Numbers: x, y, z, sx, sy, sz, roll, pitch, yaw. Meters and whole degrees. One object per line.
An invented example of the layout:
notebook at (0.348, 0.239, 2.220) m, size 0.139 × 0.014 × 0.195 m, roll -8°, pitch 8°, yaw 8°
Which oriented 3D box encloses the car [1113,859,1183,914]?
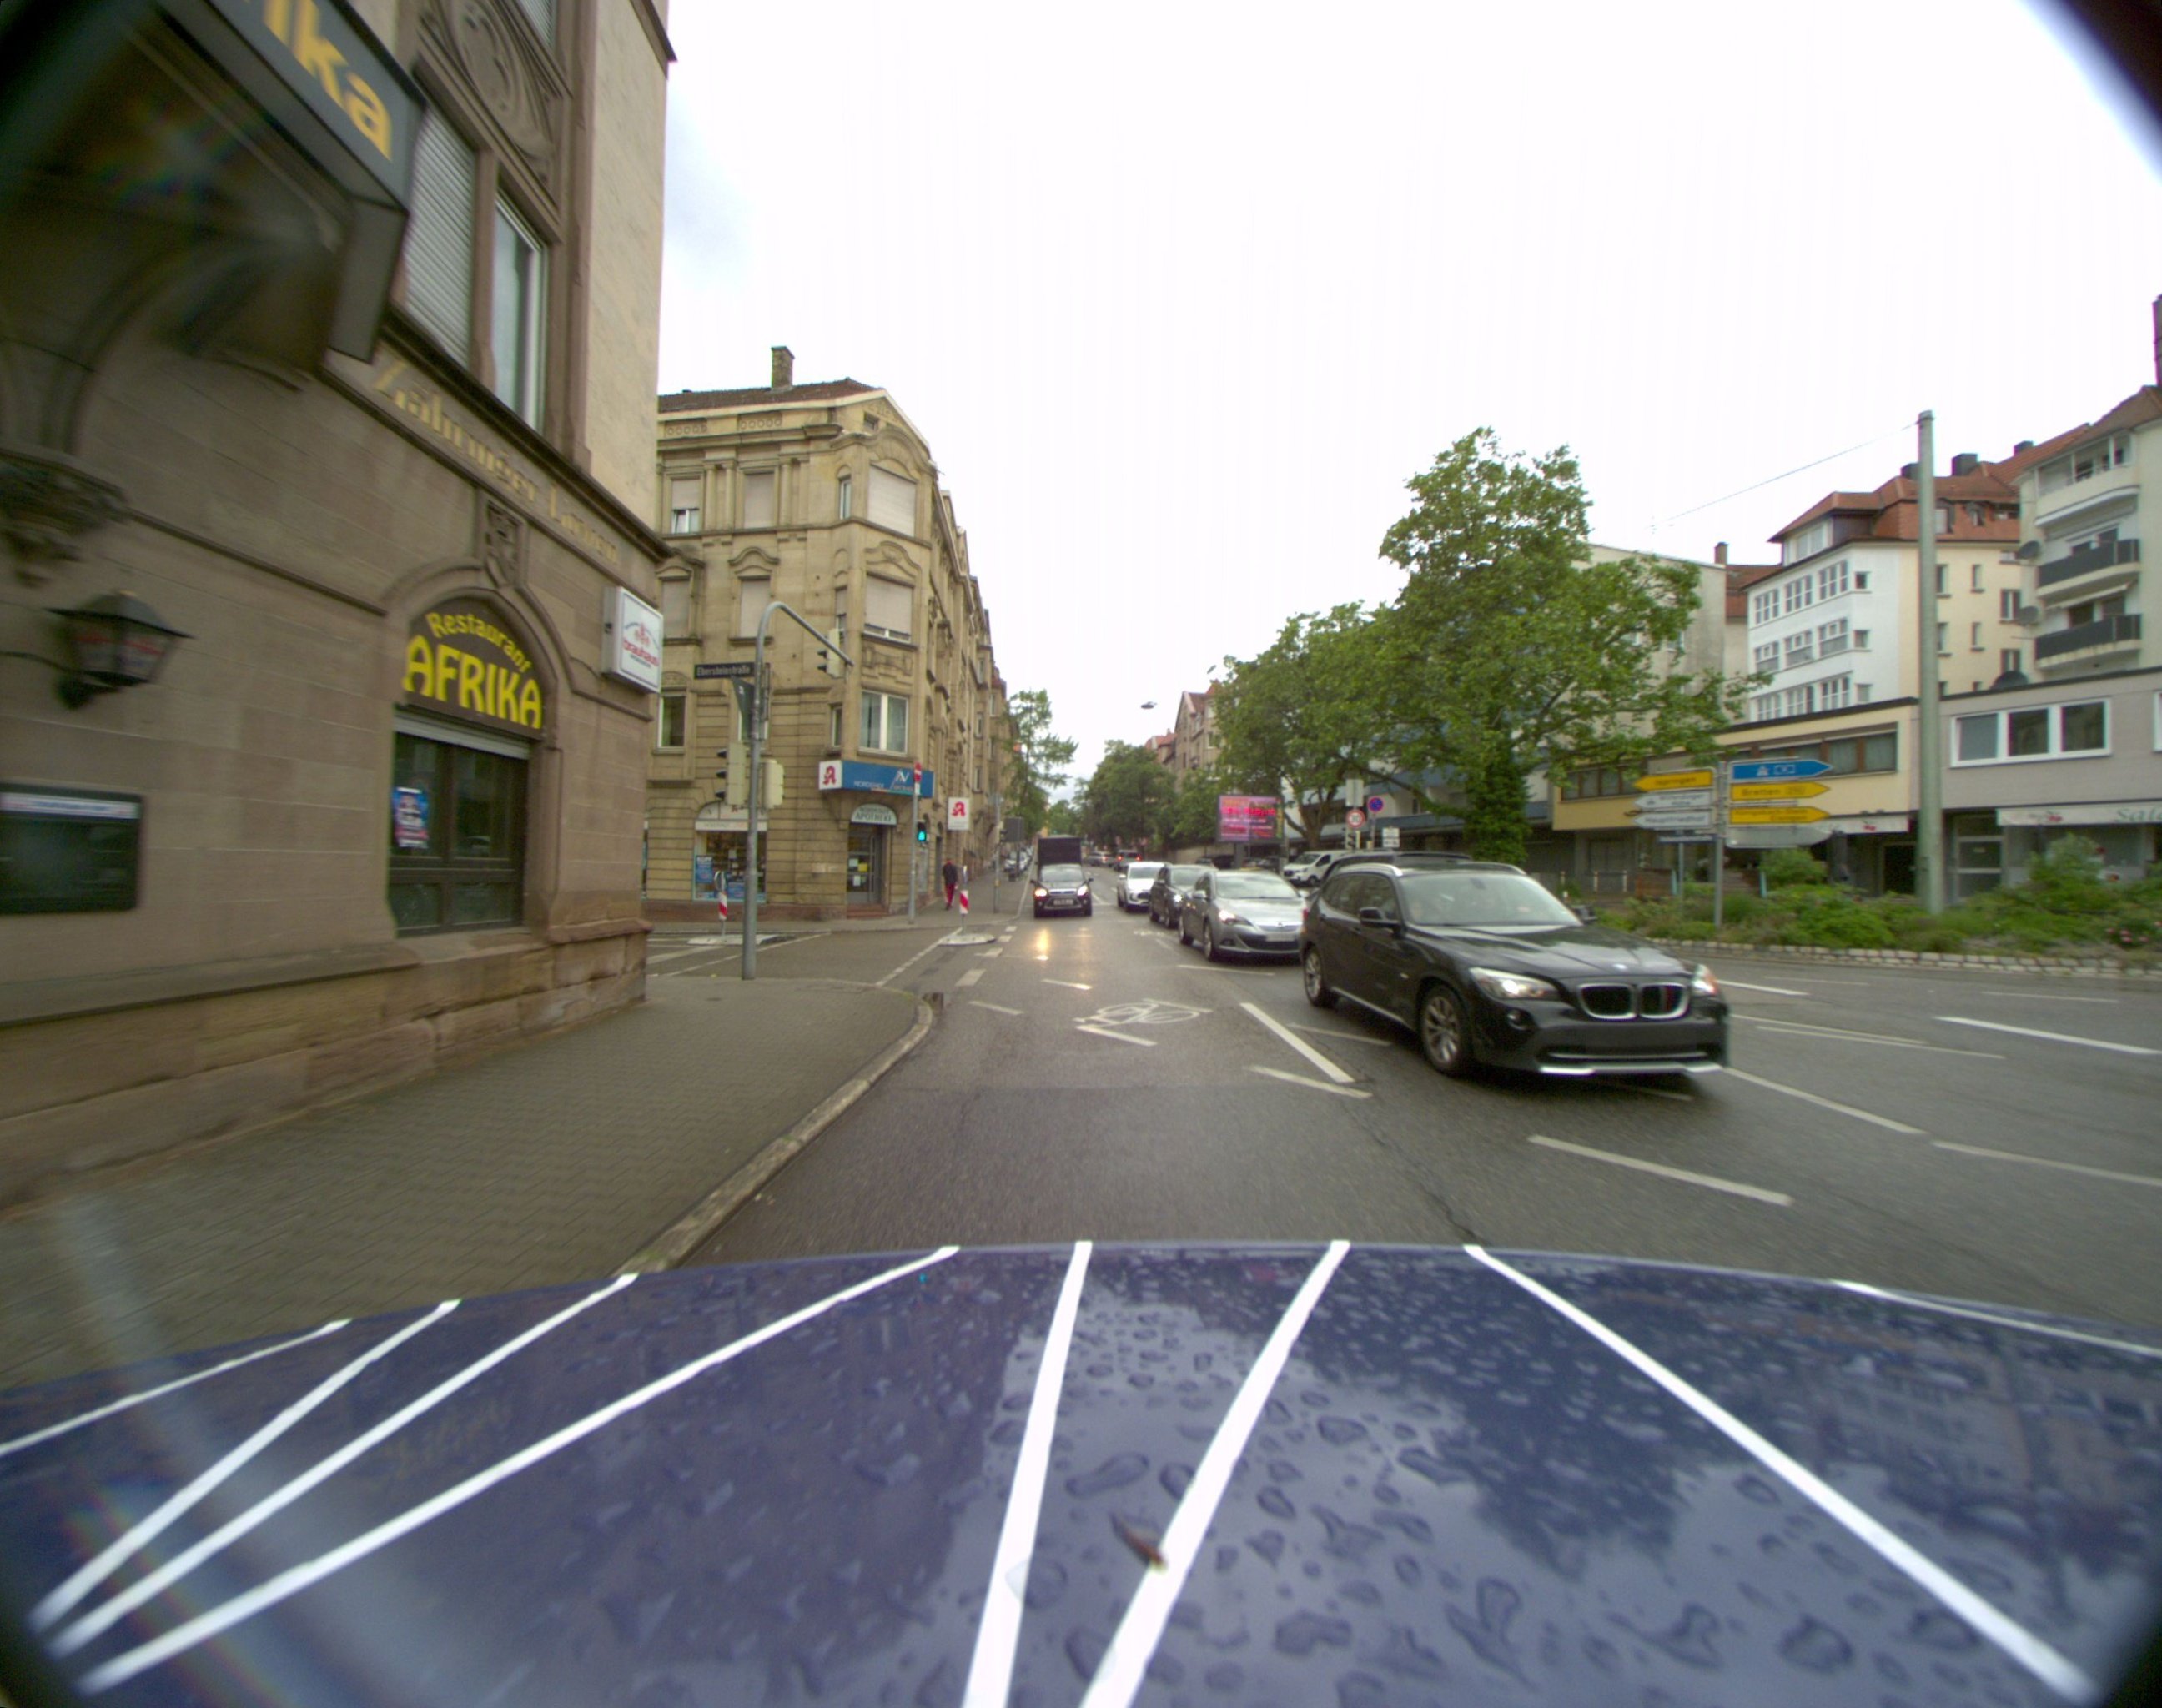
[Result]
car at (2.263, 1.055, 26.660) m, size 1.757 × 1.635 × 4.376 m, roll -1°, pitch 1°, yaw -4°

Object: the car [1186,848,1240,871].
car at (10.293, 0.382, 59.257) m, size 3.842 × 1.523 × 1.766 m, roll -3°, pitch 3°, yaw -31°

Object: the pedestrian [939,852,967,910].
pedestrian at (-4.450, 0.932, 26.466) m, size 0.699 × 1.938 × 1.090 m, roll -1°, pitch 2°, yaw 5°

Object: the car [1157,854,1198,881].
car at (5.702, 0.781, 45.111) m, size 1.718 × 1.488 × 3.681 m, roll 0°, pitch 0°, yaw -4°

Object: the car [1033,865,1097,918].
car at (-0.600, 1.180, 24.925) m, size 1.863 × 1.503 × 3.680 m, roll 1°, pitch 1°, yaw -5°

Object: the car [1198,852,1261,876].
car at (10.925, 0.714, 55.750) m, size 4.317 × 1.584 × 1.807 m, roll -2°, pitch 2°, yaw -27°

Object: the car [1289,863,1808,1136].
car at (3.321, 0.871, 6.543) m, size 1.757 × 1.526 × 4.214 m, roll -1°, pitch 0°, yaw -2°

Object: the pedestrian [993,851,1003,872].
pedestrian at (-6.264, 0.585, 57.669) m, size 0.645 × 1.489 × 0.690 m, roll 3°, pitch 4°, yaw -4°

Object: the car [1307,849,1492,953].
car at (6.293, 0.827, 15.600) m, size 1.747 × 1.835 × 4.144 m, roll 1°, pitch 1°, yaw -5°

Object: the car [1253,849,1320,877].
car at (13.053, 0.531, 48.285) m, size 3.840 × 1.680 × 1.802 m, roll 0°, pitch 2°, yaw -22°

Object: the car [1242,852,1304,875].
car at (12.958, 0.619, 51.375) m, size 3.841 × 1.397 × 1.687 m, roll -1°, pitch 1°, yaw -24°

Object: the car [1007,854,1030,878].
car at (-4.895, 0.947, 59.762) m, size 1.526 × 1.609 × 3.491 m, roll 4°, pitch 2°, yaw -3°

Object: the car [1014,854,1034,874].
car at (-4.857, 0.831, 65.586) m, size 1.547 × 1.478 × 3.761 m, roll 4°, pitch 1°, yaw -3°

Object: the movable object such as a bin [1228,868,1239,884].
movable object such as a bin at (8.688, 1.249, 43.391) m, size 0.485 × 0.896 × 0.546 m, roll 0°, pitch 2°, yaw -6°

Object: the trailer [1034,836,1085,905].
trailer at (-0.932, 0.613, 31.389) m, size 1.939 × 2.621 × 4.682 m, roll 0°, pitch 0°, yaw -3°

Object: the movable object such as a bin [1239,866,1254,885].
movable object such as a bin at (9.381, 1.207, 43.080) m, size 0.643 × 1.073 × 0.627 m, roll 0°, pitch 2°, yaw -6°

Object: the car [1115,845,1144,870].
car at (4.020, 0.260, 63.918) m, size 1.818 × 1.871 × 4.240 m, roll 4°, pitch 1°, yaw -3°

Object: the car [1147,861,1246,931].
car at (2.925, 1.056, 20.203) m, size 1.757 × 1.634 × 4.212 m, roll -1°, pitch -1°, yaw -3°

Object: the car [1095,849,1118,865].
car at (2.514, 0.296, 74.825) m, size 1.731 × 1.440 × 4.323 m, roll 3°, pitch 1°, yaw -4°

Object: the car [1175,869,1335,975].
car at (2.804, 1.040, 13.183) m, size 1.756 × 1.474 × 4.180 m, roll 0°, pitch 0°, yaw -1°

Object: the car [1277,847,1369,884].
car at (13.775, 0.620, 43.274) m, size 4.982 × 1.966 × 1.876 m, roll -1°, pitch 1°, yaw -23°

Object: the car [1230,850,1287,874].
car at (12.525, 0.532, 53.476) m, size 3.842 × 1.398 × 1.676 m, roll -4°, pitch 3°, yaw -34°
